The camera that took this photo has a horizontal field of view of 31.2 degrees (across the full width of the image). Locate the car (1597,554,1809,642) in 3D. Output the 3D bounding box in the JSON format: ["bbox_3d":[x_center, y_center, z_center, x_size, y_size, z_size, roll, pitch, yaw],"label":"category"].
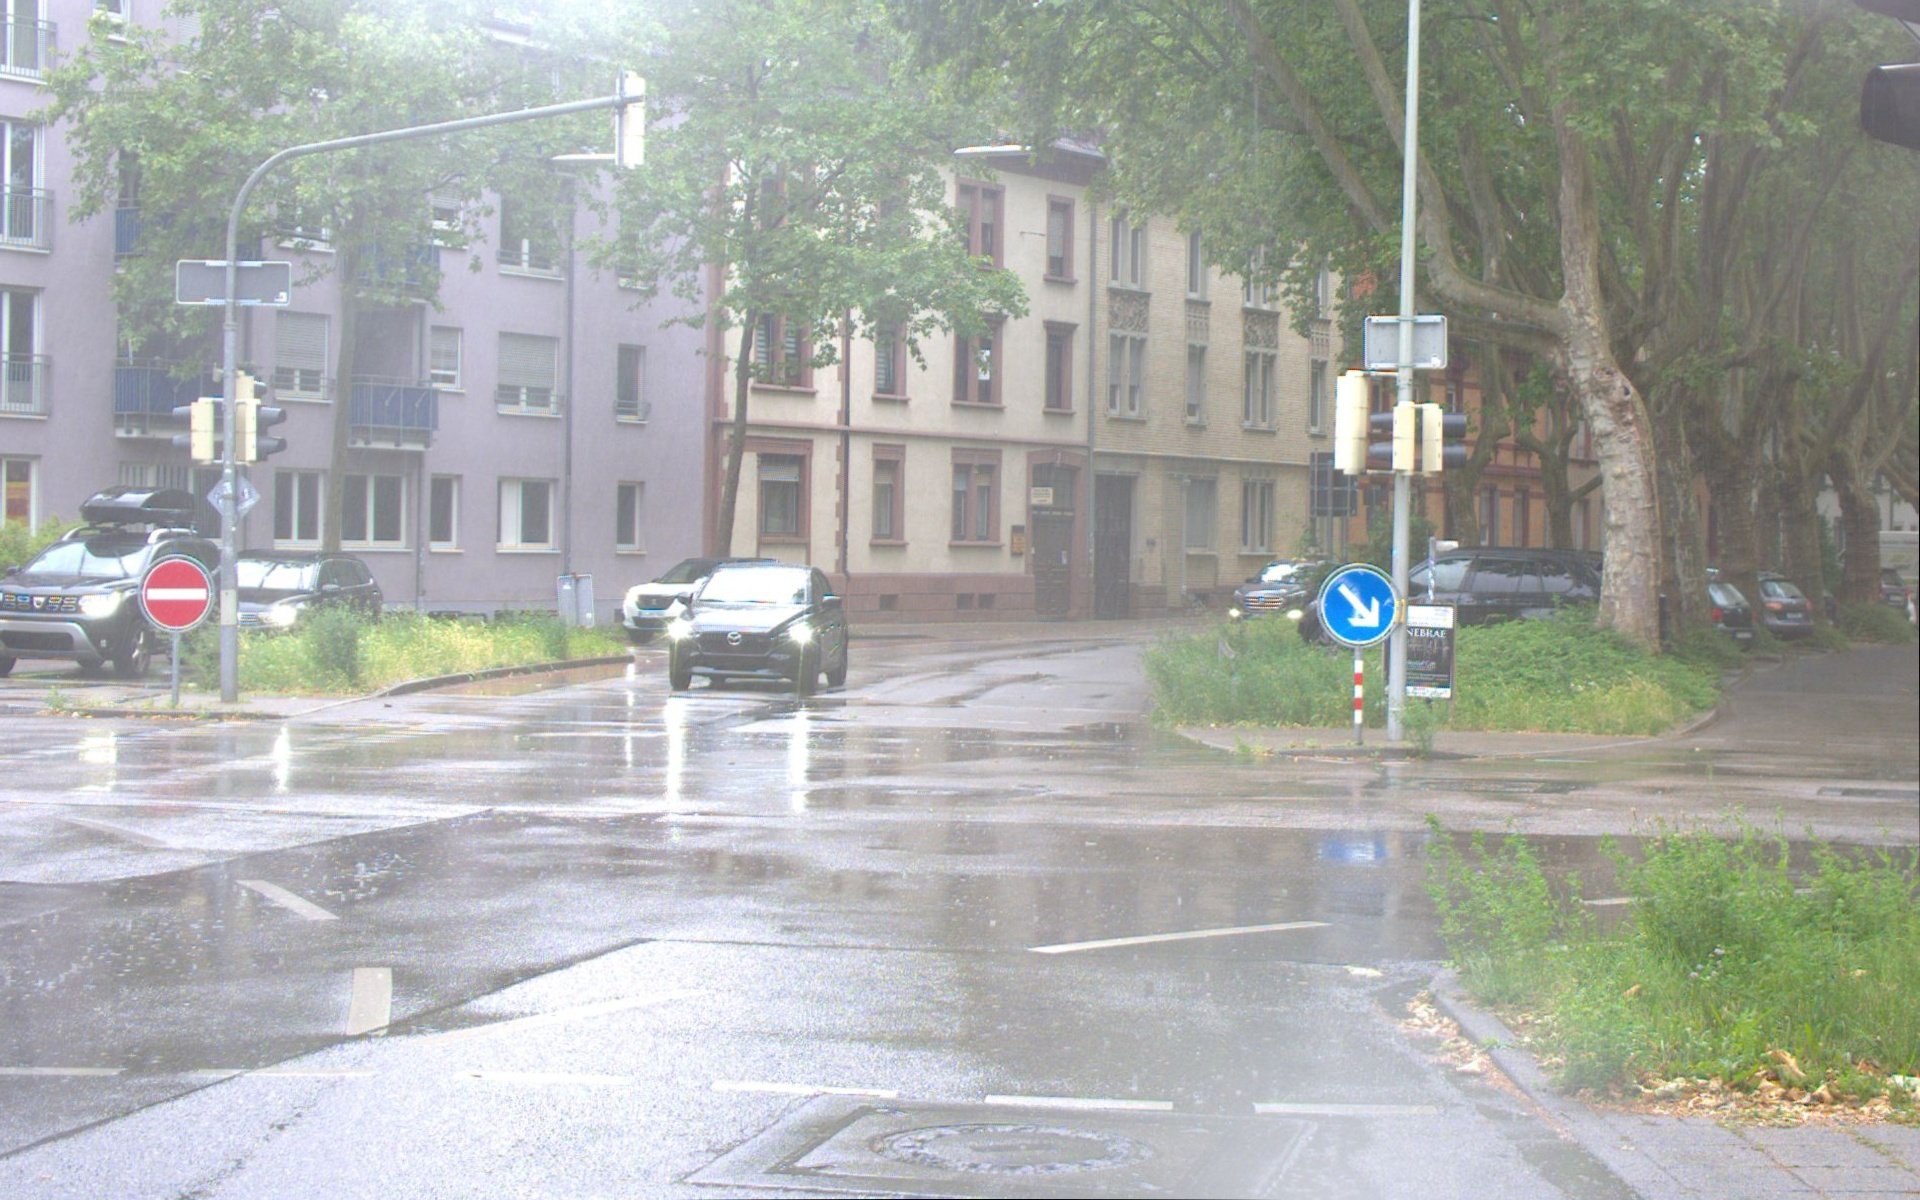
[{"bbox_3d":[14.170,-0.043,65.569,3.611,1.612,1.679,0,1,28],"label":"car"}]

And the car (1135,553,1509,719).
[{"bbox_3d":[3.491,0.331,32.985,3.480,1.518,1.519,-1,1,9],"label":"car"}]

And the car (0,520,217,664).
[{"bbox_3d":[-9.786,-0.120,38.782,1.725,1.547,3.559,-1,1,5],"label":"car"}]

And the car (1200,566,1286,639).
[{"bbox_3d":[6.367,0.031,77.041,1.603,1.547,3.558,-1,1,10],"label":"car"}]

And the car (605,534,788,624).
[{"bbox_3d":[-4.715,-0.395,62.065,1.678,1.547,4.194,0,1,20],"label":"car"}]

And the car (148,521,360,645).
[{"bbox_3d":[-9.168,-0.250,44.905,1.725,1.547,3.559,-1,1,5],"label":"car"}]

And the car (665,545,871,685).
[{"bbox_3d":[-2.215,0.142,40.486,1.603,1.547,3.558,0,1,10],"label":"car"}]
